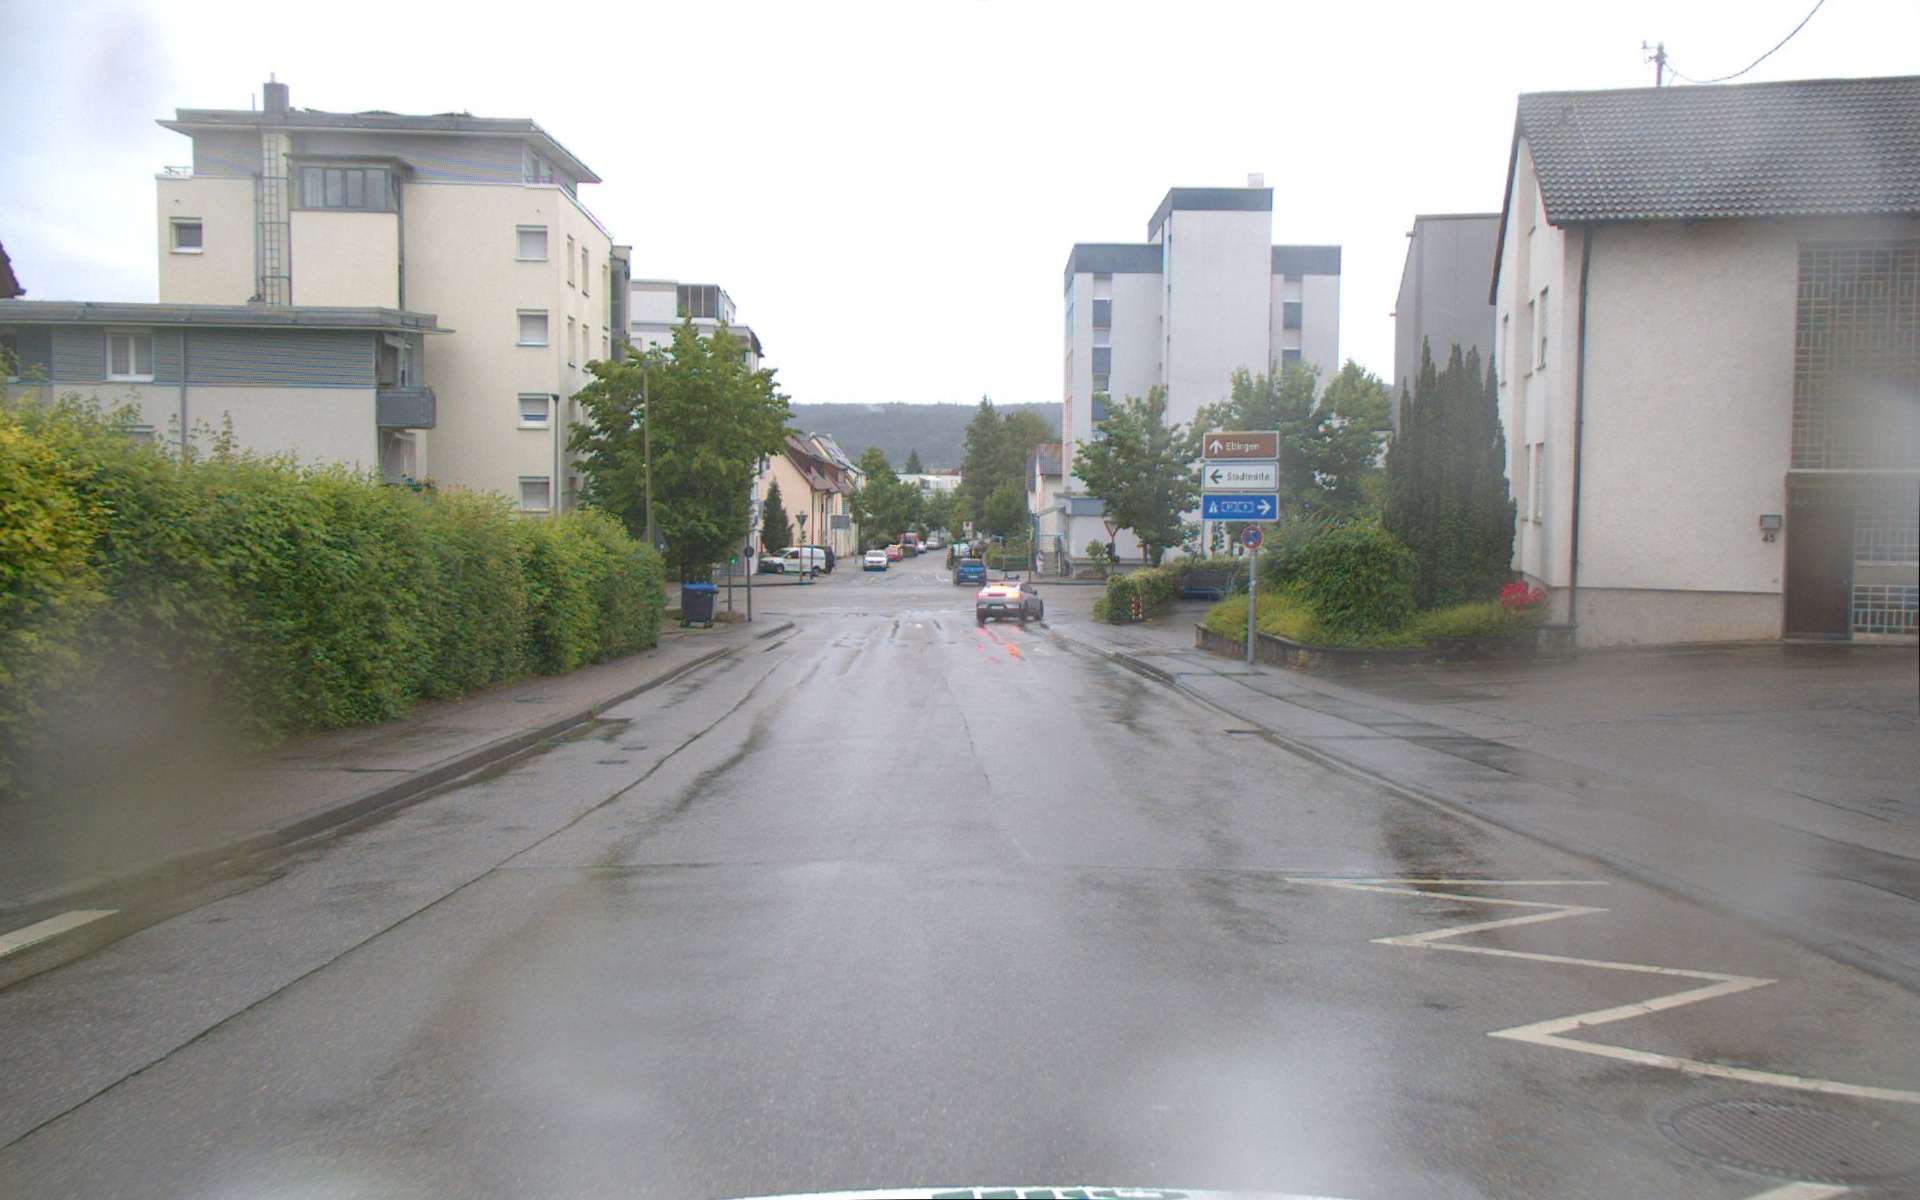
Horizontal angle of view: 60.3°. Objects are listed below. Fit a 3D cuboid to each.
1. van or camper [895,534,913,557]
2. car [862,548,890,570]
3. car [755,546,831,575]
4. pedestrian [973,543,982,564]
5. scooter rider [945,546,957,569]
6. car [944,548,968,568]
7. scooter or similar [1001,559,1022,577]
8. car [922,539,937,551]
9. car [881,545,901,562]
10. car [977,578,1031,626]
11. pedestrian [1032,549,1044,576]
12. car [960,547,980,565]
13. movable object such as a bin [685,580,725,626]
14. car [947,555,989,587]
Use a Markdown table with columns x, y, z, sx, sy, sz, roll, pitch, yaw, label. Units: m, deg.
| x | y | z | sx | sy | sz | roll | pitch | yaw | label |
| --- | --- | --- | --- | --- | --- | --- | --- | --- | --- |
| -6.420 | -6.272 | 189.889 | 1.862 | 2.557 | 4.239 | -1 | 2 | 0 | van or camper |
| -6.651 | -3.247 | 131.163 | 1.953 | 1.654 | 4.192 | -1 | 2 | 0 | car |
| -11.165 | -2.649 | 110.878 | 4.798 | 1.867 | 1.972 | -3 | 3 | -40 | car |
| 1.610 | -4.201 | 149.703 | 0.731 | 1.881 | 0.525 | -2 | 1 | -7 | pedestrian |
| -0.739 | -3.479 | 135.947 | 0.742 | 1.827 | 0.667 | -2 | 2 | -25 | scooter rider |
| -0.352 | -3.711 | 144.973 | 2.102 | 1.616 | 4.128 | -1 | 2 | 0 | car |
| 3.175 | -1.979 | 102.059 | 1.243 | 1.100 | 0.876 | -1 | 2 | -6 | scooter or similar |
| -3.970 | -7.283 | 217.885 | 1.862 | 1.585 | 4.192 | -1 | 2 | 0 | car |
| -6.998 | -4.706 | 167.604 | 1.862 | 1.585 | 4.192 | -1 | 2 | 0 | car |
| 1.775 | 0.058 | 65.252 | 1.952 | 1.713 | 4.003 | -1 | 2 | 4 | car |
| 4.872 | -2.355 | 103.471 | 0.635 | 1.676 | 0.525 | 2 | 1 | -7 | pedestrian |
| 0.989 | -4.431 | 166.848 | 1.862 | 1.775 | 4.192 | -1 | 2 | 0 | car |
| -7.832 | 0.079 | 50.789 | 1.050 | 1.371 | 1.318 | 2 | 1 | -3 | movable object such as a bin |
| 0.448 | -1.692 | 94.321 | 1.955 | 1.713 | 3.996 | -1 | 2 | -6 | car |
